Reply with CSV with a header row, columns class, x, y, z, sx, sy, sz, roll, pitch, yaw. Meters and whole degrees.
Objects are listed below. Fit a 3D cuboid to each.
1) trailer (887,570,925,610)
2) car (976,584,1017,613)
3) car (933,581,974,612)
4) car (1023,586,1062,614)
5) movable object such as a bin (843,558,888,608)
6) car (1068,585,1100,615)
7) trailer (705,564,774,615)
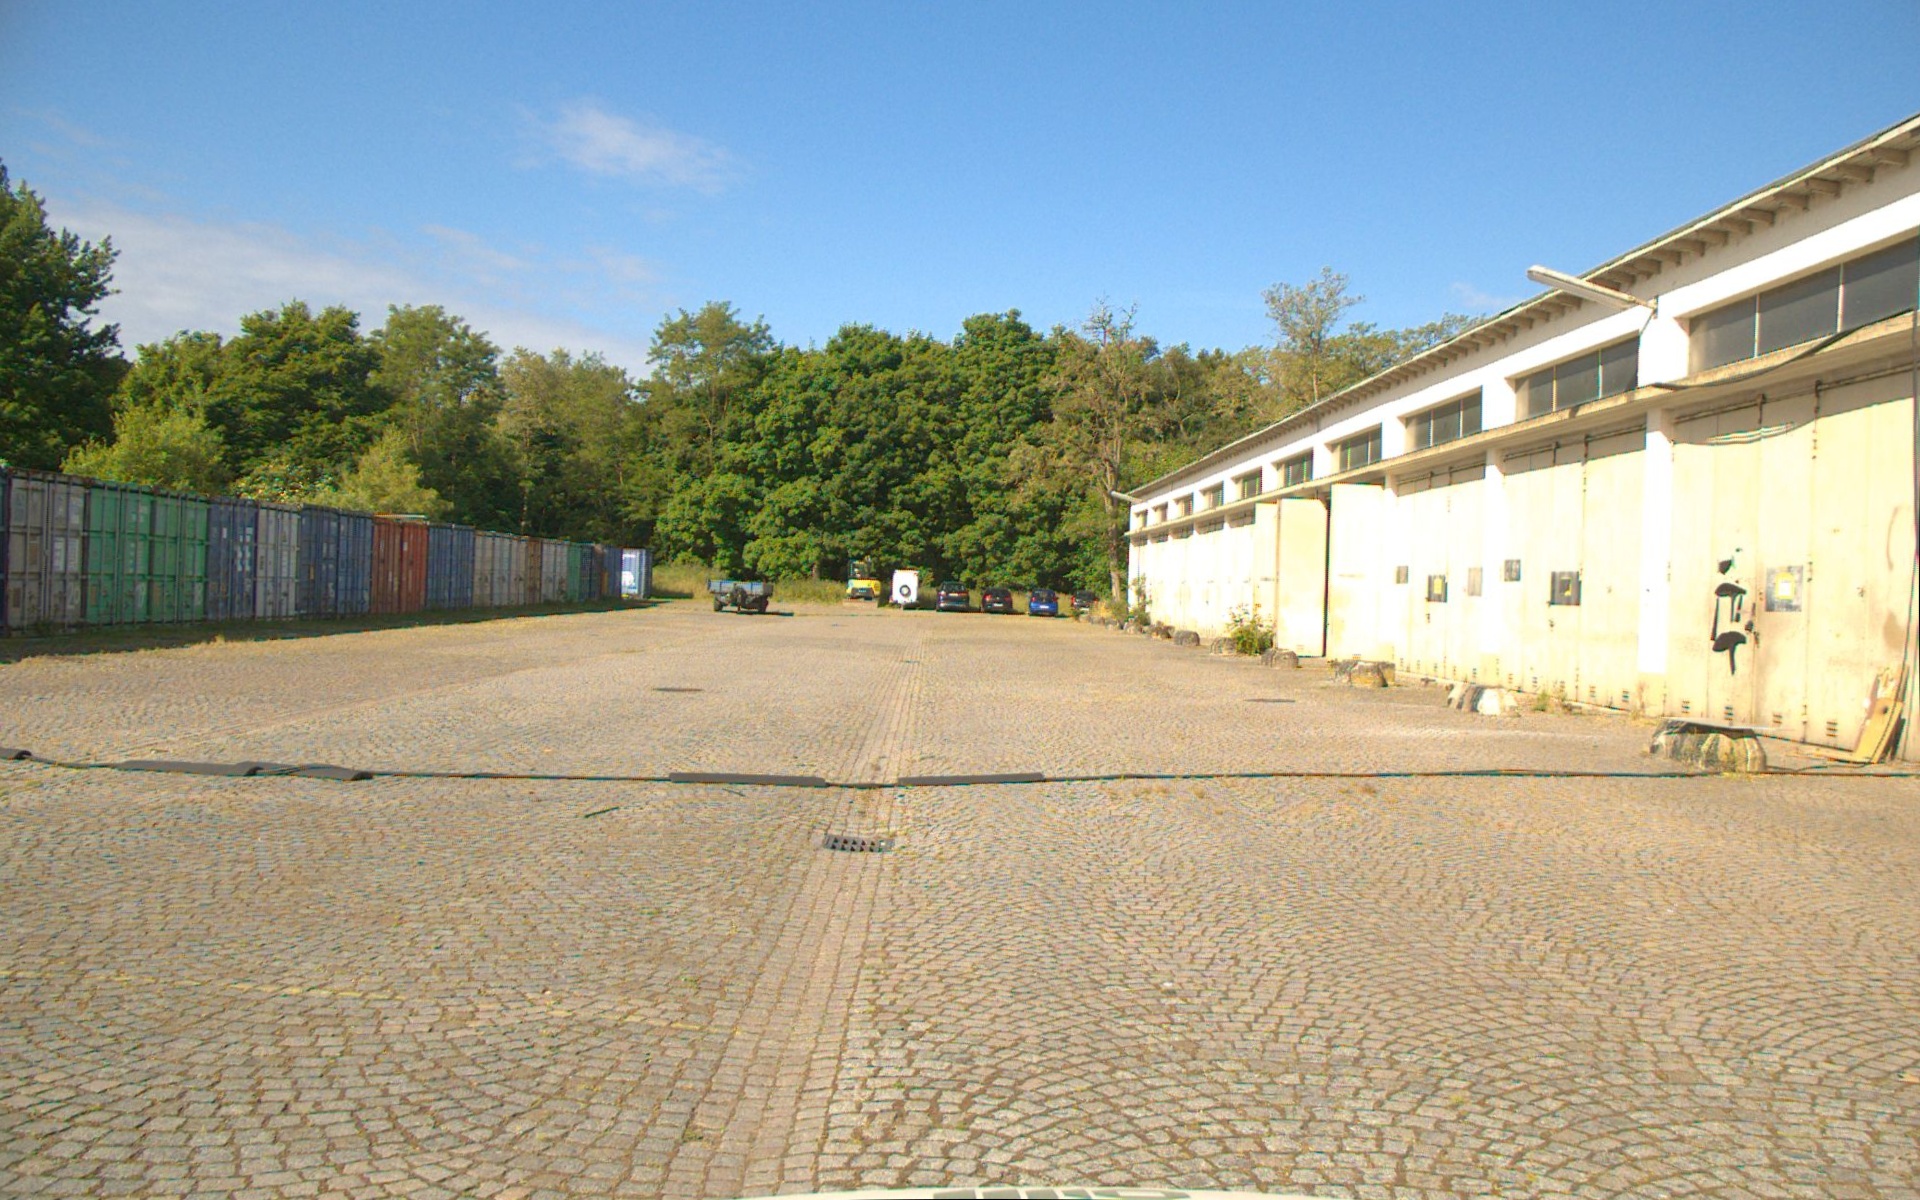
class,x,y,z,sx,sy,sz,roll,pitch,yaw
trailer,-3.002,-0.554,93.397,1.756,2.126,3.973,2,0,3
car,2.042,-0.090,92.013,1.951,1.488,4.003,2,0,6
car,-0.312,-0.197,91.764,1.822,1.613,4.003,2,0,6
car,4.619,0.011,92.075,1.951,1.445,4.003,2,0,6
movable object such as a bin,-5.347,-0.959,93.617,1.952,2.663,4.002,4,0,3
car,7.001,-0.014,93.364,1.649,1.591,4.003,2,0,6
trailer,-9.841,-0.462,74.214,2.358,2.048,4.174,4,0,1
